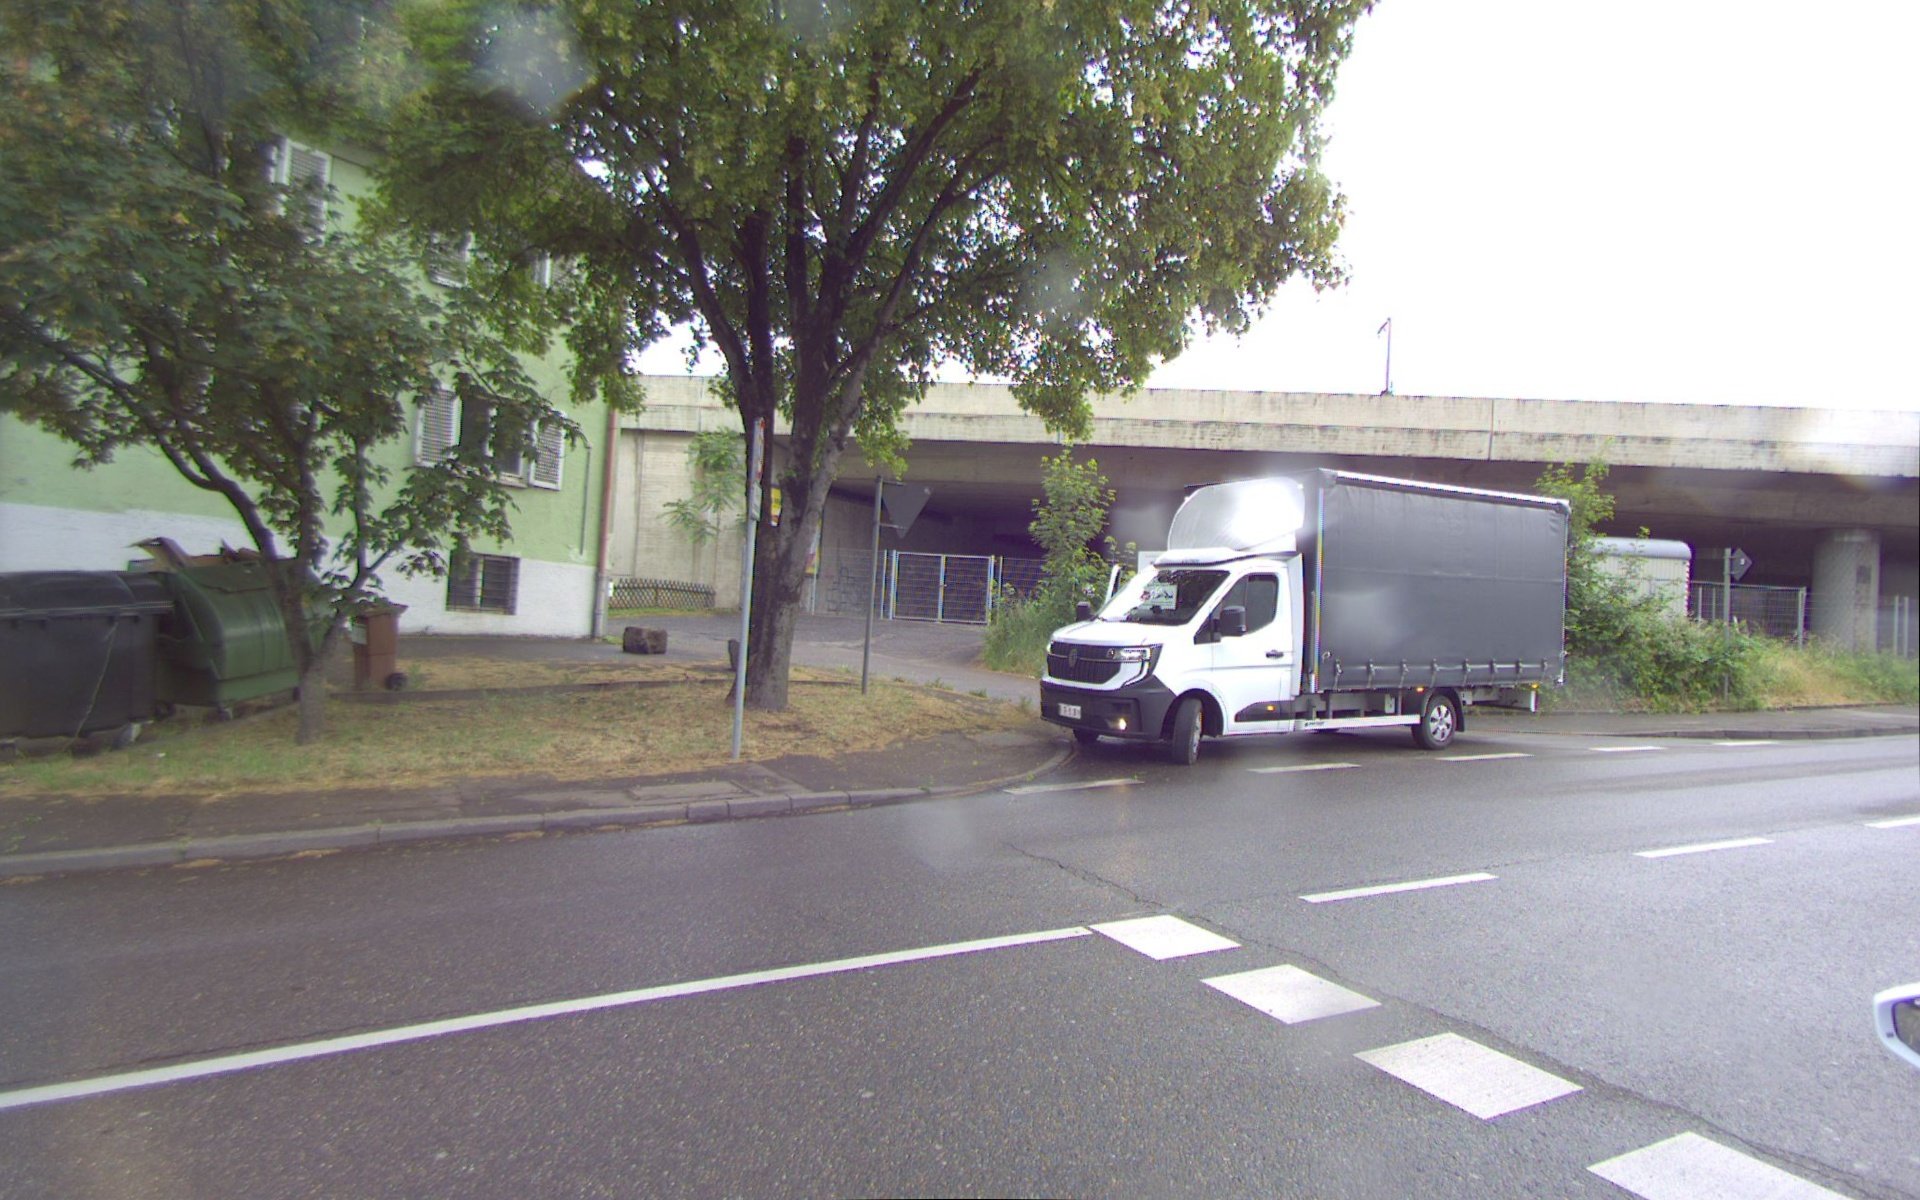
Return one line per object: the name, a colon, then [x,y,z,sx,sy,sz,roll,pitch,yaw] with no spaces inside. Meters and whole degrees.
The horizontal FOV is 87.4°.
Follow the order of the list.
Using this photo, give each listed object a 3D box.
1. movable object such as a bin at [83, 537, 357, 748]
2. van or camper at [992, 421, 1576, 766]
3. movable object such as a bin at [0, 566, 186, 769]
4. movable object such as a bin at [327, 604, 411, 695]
movable object such as a bin: [-6.901,0.323,9.443,1.547,1.785,1.453,2,2,22]
van or camper: [4.394,0.059,12.928,7.670,3.379,2.686,2,-1,-30]
movable object such as a bin: [-7.416,0.464,8.035,1.444,1.460,1.376,2,2,22]
movable object such as a bin: [-6.369,0.520,10.840,0.531,0.922,0.562,2,2,22]
